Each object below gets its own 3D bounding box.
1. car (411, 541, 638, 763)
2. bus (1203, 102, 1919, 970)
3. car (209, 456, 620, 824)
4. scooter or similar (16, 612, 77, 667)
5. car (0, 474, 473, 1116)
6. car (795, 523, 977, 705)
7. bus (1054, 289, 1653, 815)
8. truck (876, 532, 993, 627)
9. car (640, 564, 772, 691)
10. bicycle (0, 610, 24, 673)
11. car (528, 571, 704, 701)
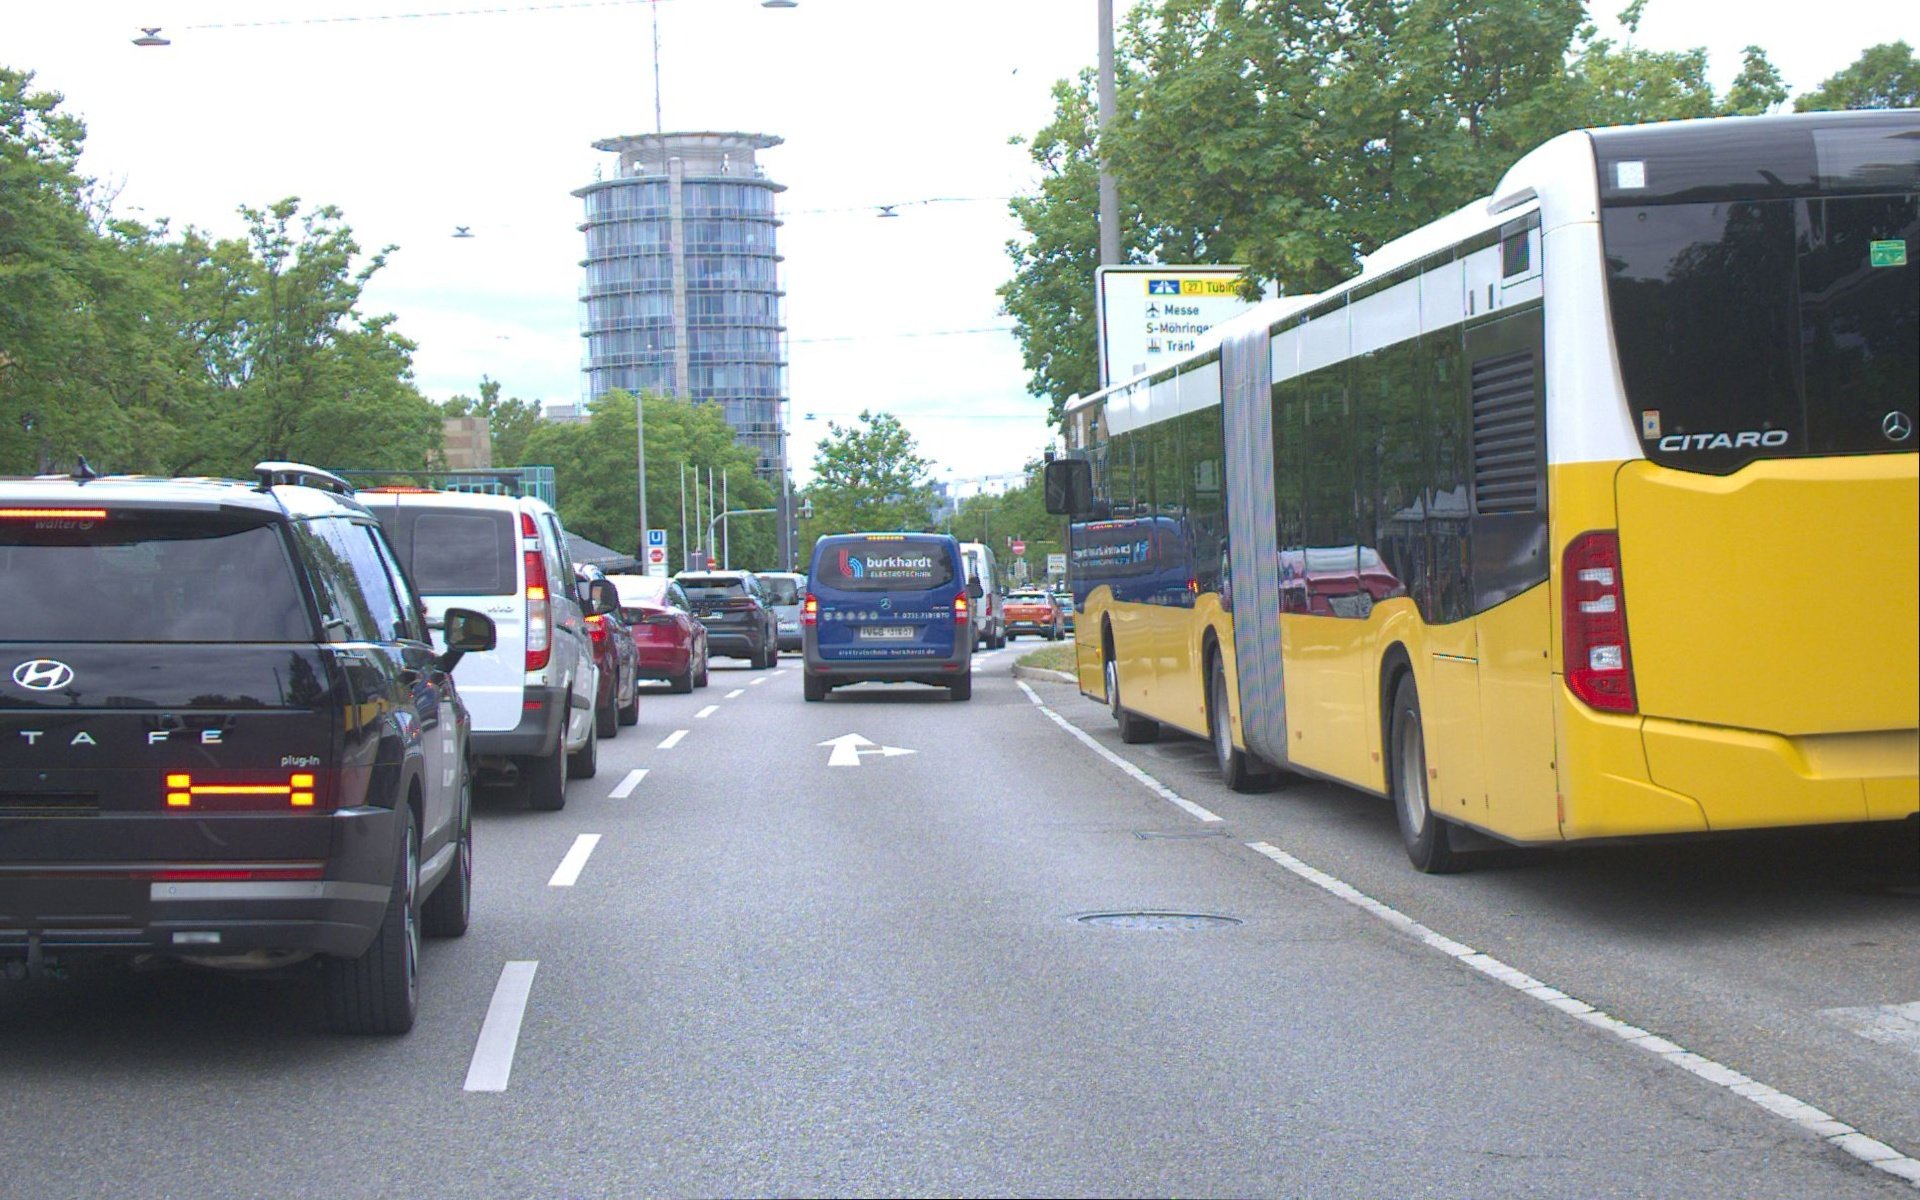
[{"bbox_3d":[-3.806,0.464,30.583,1.746,1.718,4.000,-4,-1,-5],"label":"car"},{"bbox_3d":[3.200,-0.316,16.935,2.712,3.098,8.871,-2,1,-4],"label":"bus"},{"bbox_3d":[-3.331,0.242,21.957,1.873,2.007,5.076,-2,0,-1],"label":"car"},{"bbox_3d":[-21.103,0.904,79.423,1.321,1.265,0.339,0,0,0],"label":"scooter or similar"},{"bbox_3d":[-2.741,0.490,11.679,1.922,1.745,4.679,0,1,-5],"label":"car"},{"bbox_3d":[-0.862,0.161,39.654,1.948,1.959,4.541,-1,0,-1],"label":"car"},{"bbox_3d":[2.569,-0.358,25.824,2.712,3.153,9.129,-2,1,-4],"label":"bus"},{"bbox_3d":[-0.552,-0.460,80.918,1.994,2.158,5.557,0,0,7],"label":"truck"},{"bbox_3d":[-4.182,0.423,57.079,1.993,2.007,4.000,0,1,-1],"label":"car"},{"bbox_3d":[-19.639,0.842,68.734,0.626,1.249,1.680,-2,0,40],"label":"bicycle"},{"bbox_3d":[-4.226,0.466,42.726,1.868,1.481,4.000,-2,-1,-2],"label":"car"}]
